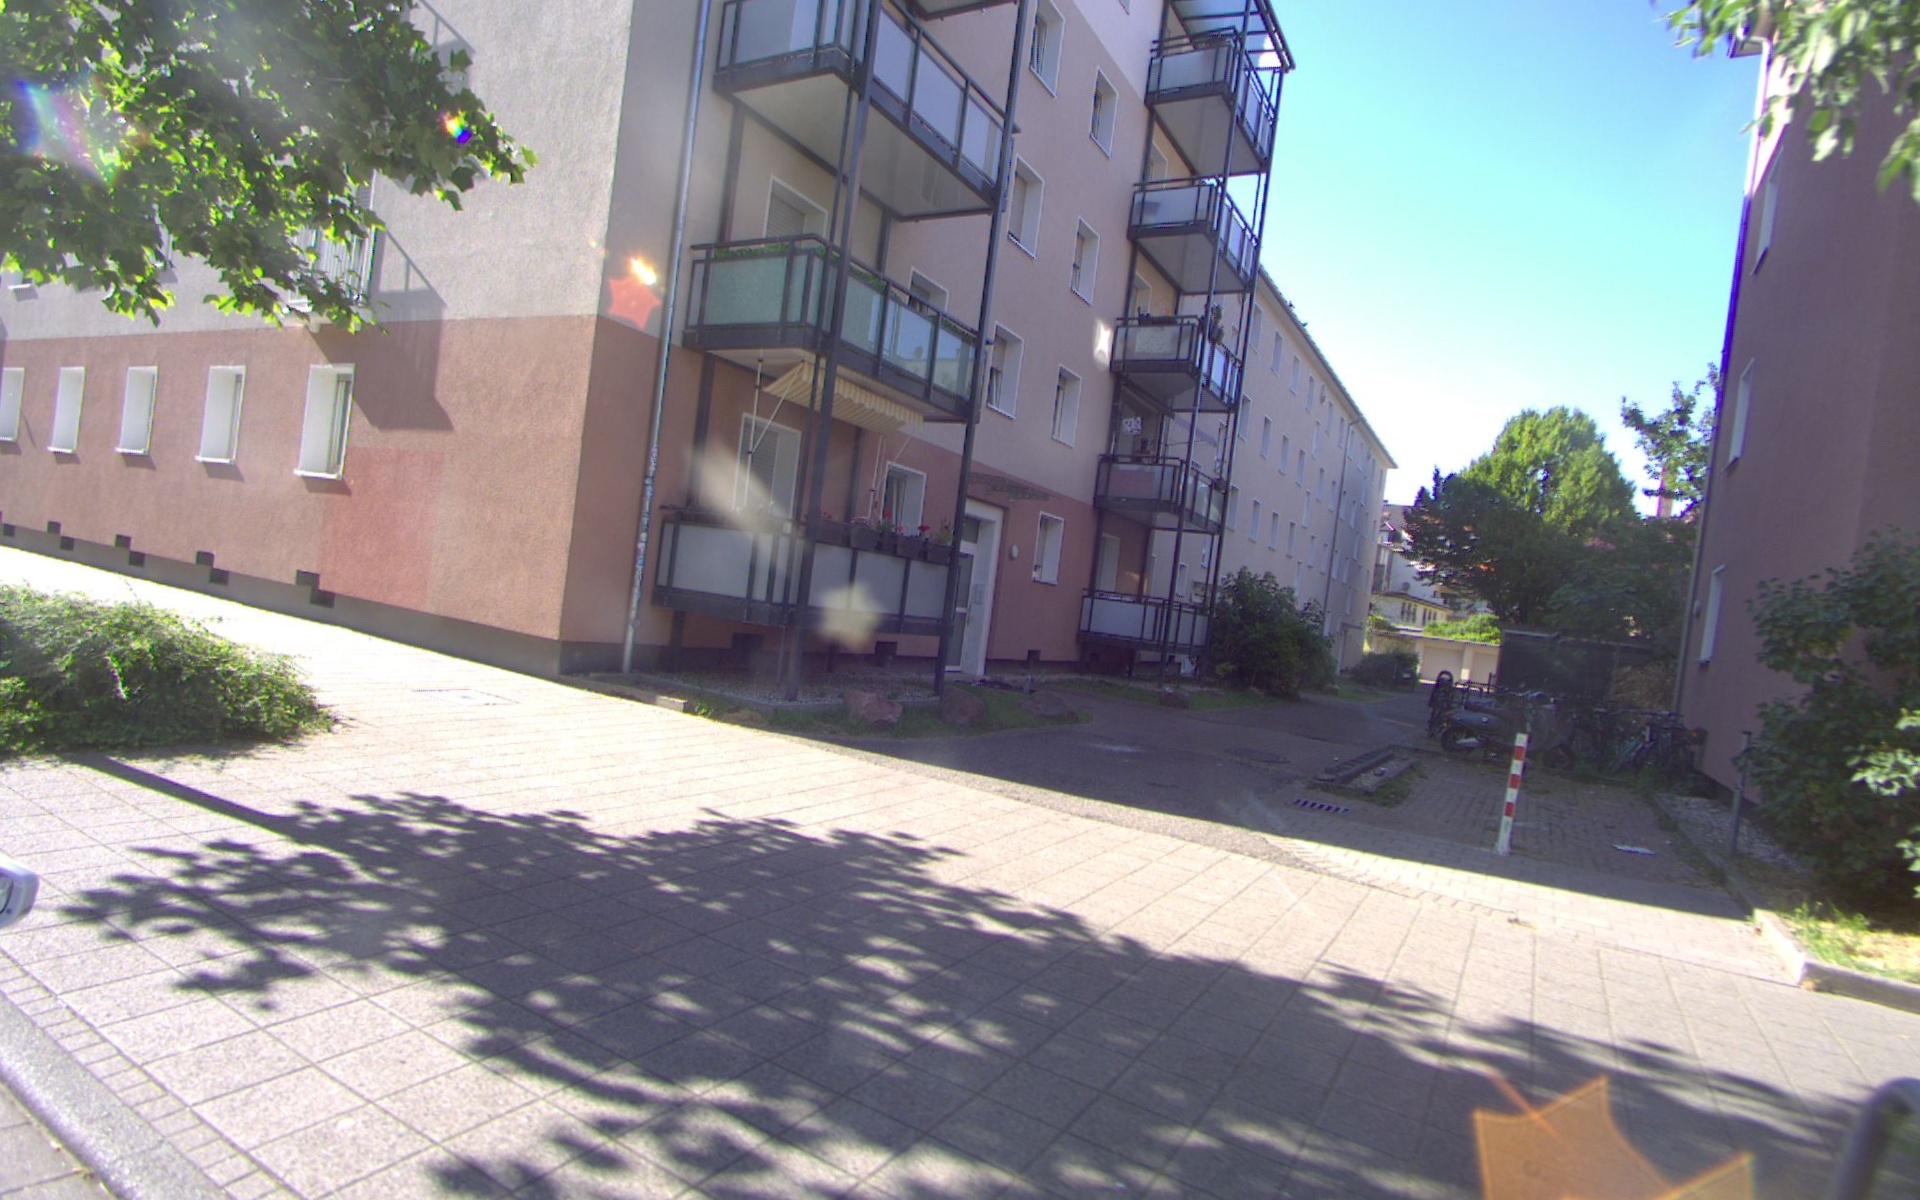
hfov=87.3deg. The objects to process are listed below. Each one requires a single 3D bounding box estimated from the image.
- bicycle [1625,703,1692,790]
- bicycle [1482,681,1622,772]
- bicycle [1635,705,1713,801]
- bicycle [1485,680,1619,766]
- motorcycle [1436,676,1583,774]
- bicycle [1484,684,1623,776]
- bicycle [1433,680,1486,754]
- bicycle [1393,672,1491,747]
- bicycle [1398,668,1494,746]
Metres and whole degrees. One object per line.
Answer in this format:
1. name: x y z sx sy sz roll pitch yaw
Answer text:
1. bicycle: 10.490 2.174 15.159 0.548 1.112 1.717 8 1 30
2. bicycle: 9.784 2.069 16.678 1.850 1.166 0.577 8 1 33
3. bicycle: 9.694 2.044 13.697 0.584 1.112 1.538 8 0 30
4. bicycle: 10.268 2.112 17.490 1.850 1.166 0.577 8 1 33
5. motorcycle: 8.046 1.797 14.760 1.743 1.120 0.525 8 1 32
6. bicycle: 9.322 2.017 15.857 1.743 1.120 0.566 8 1 32
7. bicycle: 8.563 1.976 17.303 0.547 1.112 1.719 8 0 22
8. bicycle: 8.865 1.999 18.531 1.456 1.112 0.556 8 1 33
9. bicycle: 9.176 2.003 19.011 1.456 1.221 0.556 8 1 33
